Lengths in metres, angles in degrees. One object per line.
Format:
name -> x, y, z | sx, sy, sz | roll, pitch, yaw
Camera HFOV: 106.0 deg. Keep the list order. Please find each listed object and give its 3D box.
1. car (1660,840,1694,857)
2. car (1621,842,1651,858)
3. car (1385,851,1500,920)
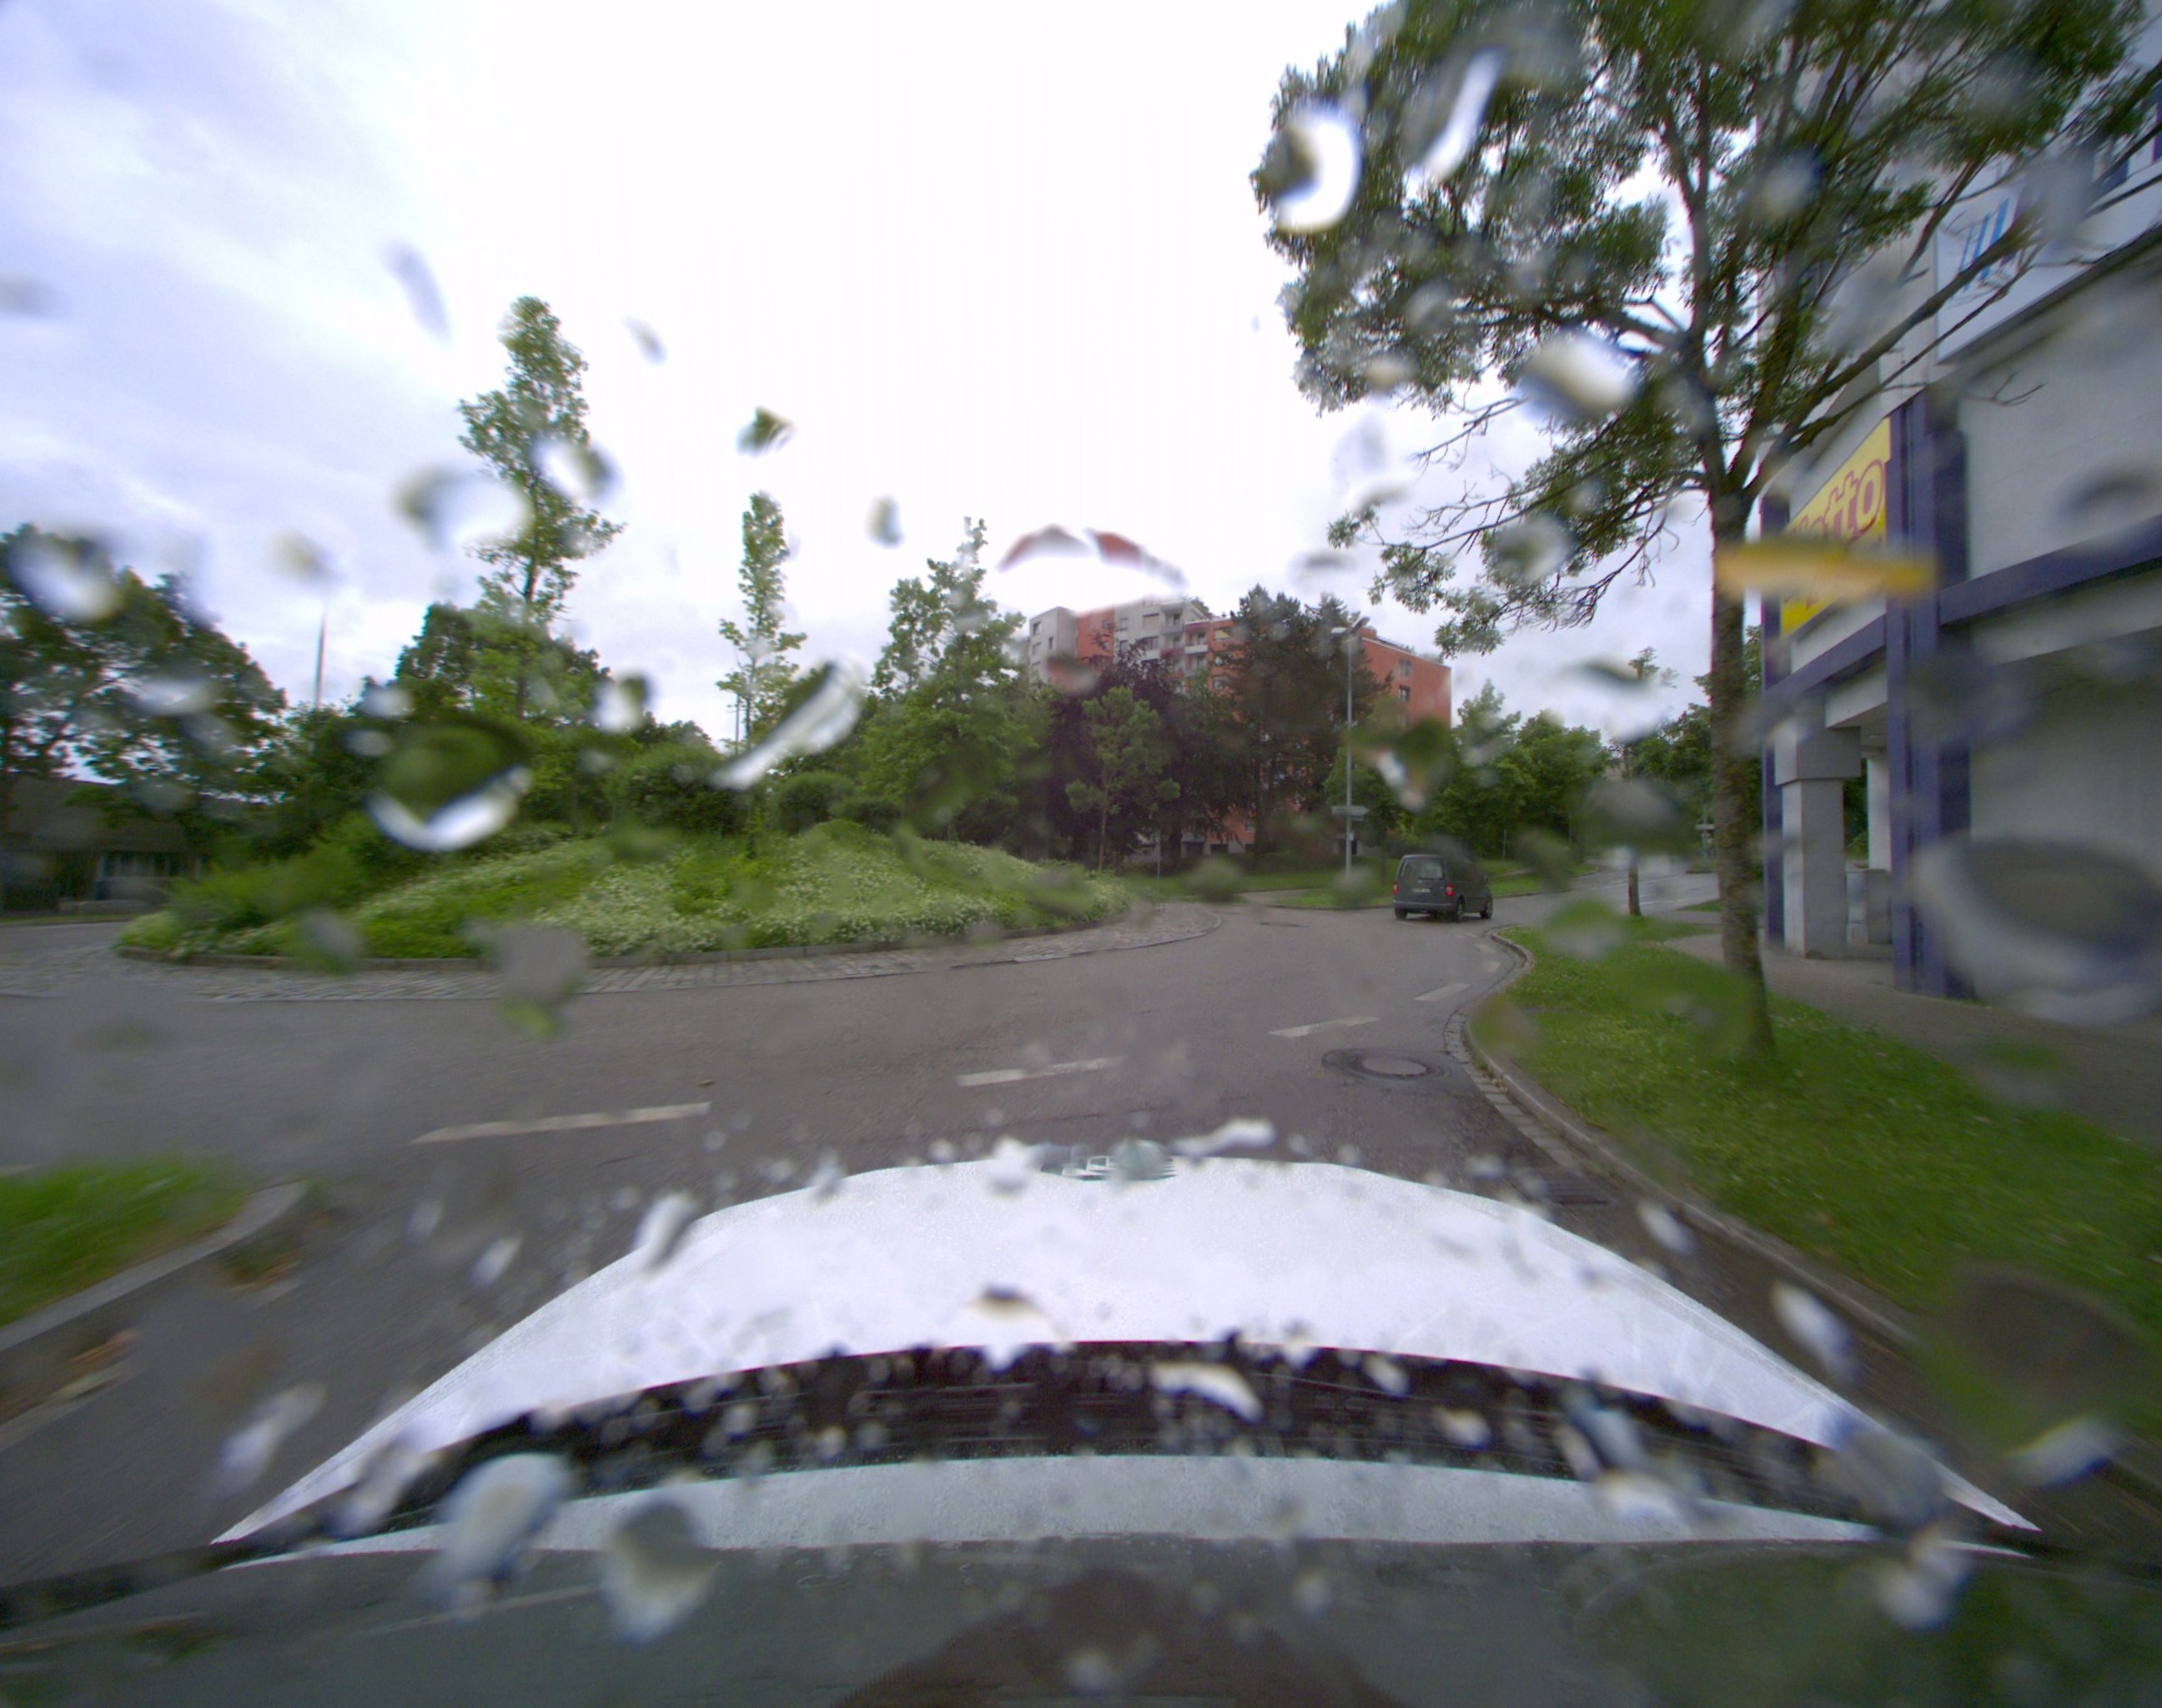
car -> 69.683, -0.651, 95.225 | 1.833, 1.873, 3.874 | 0, -1, 13
car -> 70.786, -0.482, 103.954 | 1.979, 1.873, 4.015 | 0, -1, 14
car -> 10.394, 0.868, 23.282 | 1.900, 1.801, 3.812 | 1, -1, 42
